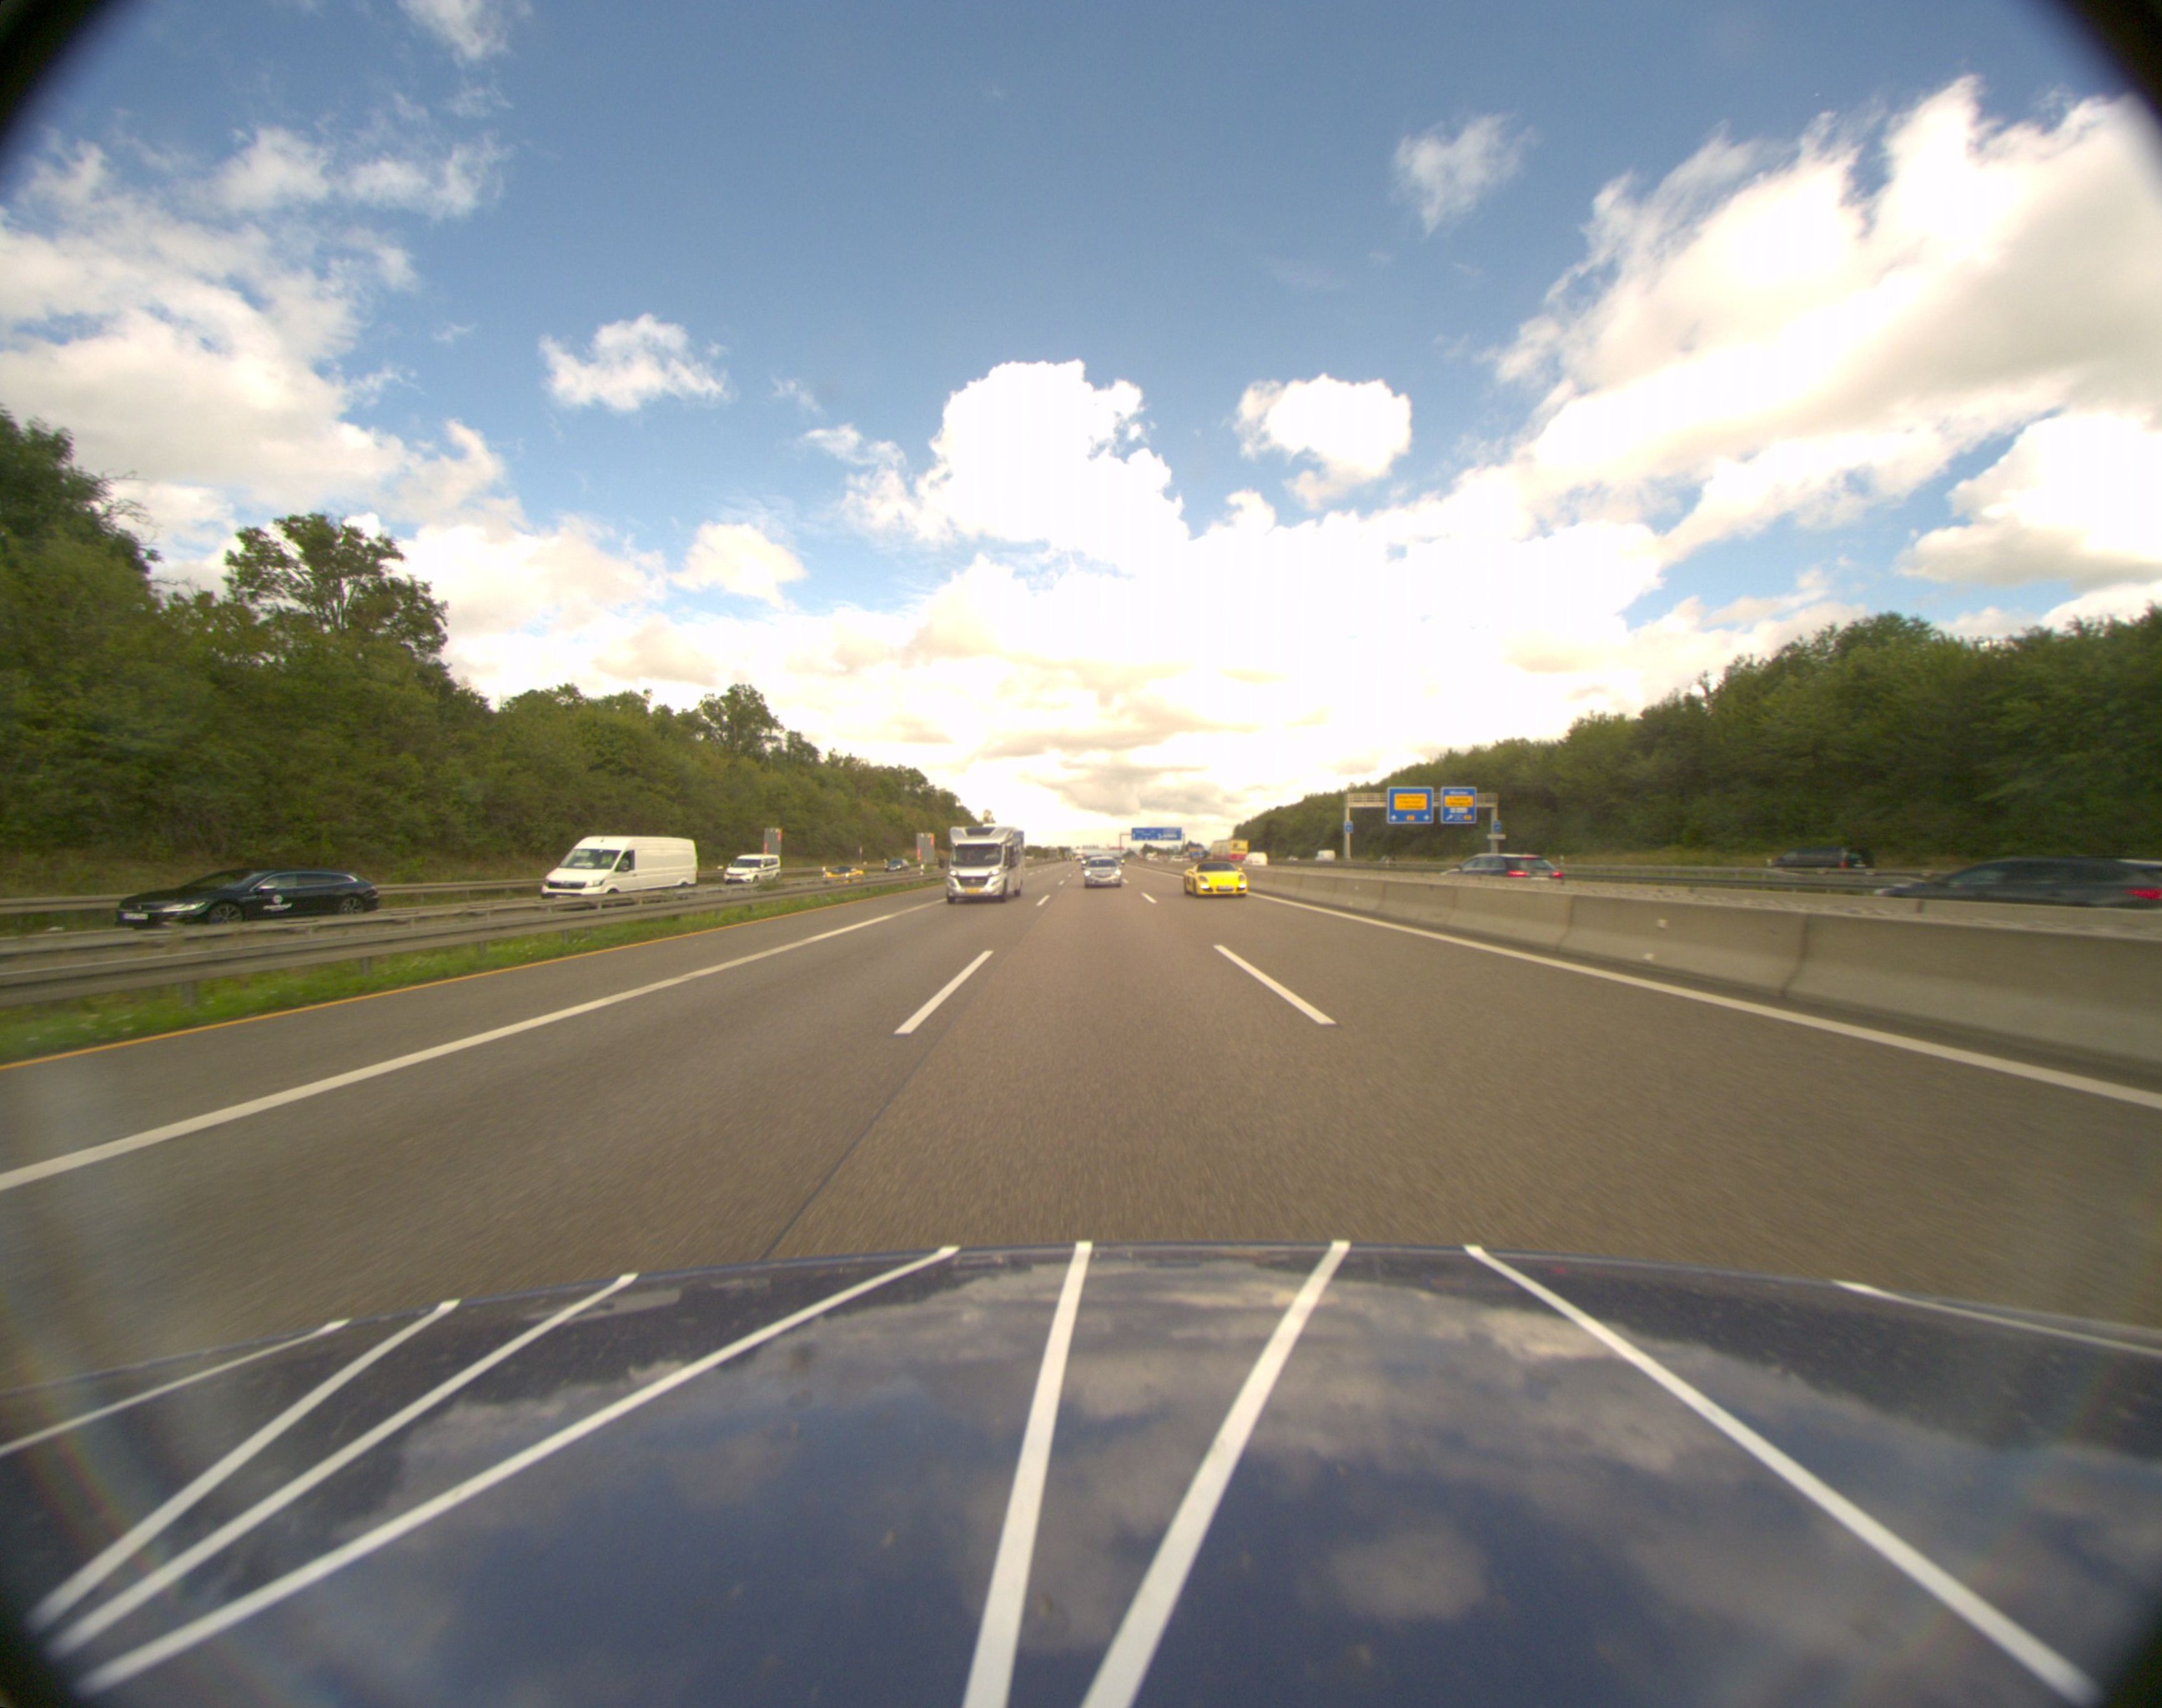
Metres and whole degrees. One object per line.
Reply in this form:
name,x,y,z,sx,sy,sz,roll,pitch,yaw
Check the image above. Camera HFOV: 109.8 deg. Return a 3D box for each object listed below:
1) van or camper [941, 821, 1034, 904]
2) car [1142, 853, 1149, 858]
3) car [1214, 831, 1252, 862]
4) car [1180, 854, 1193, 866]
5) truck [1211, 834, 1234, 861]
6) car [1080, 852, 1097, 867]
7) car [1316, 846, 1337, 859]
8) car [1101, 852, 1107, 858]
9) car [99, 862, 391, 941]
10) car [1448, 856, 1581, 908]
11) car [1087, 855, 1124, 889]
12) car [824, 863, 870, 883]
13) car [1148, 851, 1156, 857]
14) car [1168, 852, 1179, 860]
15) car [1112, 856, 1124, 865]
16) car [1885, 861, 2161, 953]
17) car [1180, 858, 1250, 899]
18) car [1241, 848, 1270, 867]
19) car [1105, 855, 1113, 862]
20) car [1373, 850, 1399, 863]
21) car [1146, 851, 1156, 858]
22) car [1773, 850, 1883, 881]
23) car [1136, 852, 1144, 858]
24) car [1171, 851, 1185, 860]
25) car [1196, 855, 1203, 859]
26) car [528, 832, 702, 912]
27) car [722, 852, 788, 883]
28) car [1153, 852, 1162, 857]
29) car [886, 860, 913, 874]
van or camper,-3.376,0.280,29.450,2.475,2.706,7.661,-2,0,1
car,20.206,0.502,237.652,1.778,1.552,4.781,-1,0,0
car,22.533,-1.028,113.539,2.913,4.300,14.145,0,0,1
car,18.760,1.100,135.612,1.757,2.002,4.553,-2,0,1
truck,22.675,-1.068,122.008,2.903,4.298,5.161,0,0,1
car,0.887,0.567,87.796,1.876,1.626,4.859,-1,0,1
car,43.367,-0.273,134.250,1.998,2.221,5.891,0,0,2
car,7.242,0.395,241.361,1.998,1.846,4.286,-1,1,1
car,-19.886,1.027,18.489,1.848,1.593,4.764,1,0,0
car,12.990,0.791,23.082,1.761,1.394,4.074,-1,0,1
car,1.145,0.837,37.461,1.687,1.476,4.616,-1,0,0
car,-15.564,1.265,50.654,1.716,1.175,4.169,-2,0,0
car,24.315,0.031,261.288,2.169,2.258,6.460,-1,0,0
car,18.834,0.461,154.445,1.598,1.601,4.463,-1,0,1
car,5.630,0.992,115.811,1.593,1.307,3.978,1,0,0
car,16.663,0.792,12.904,1.584,1.276,4.241,-1,0,1
car,4.790,0.835,27.662,1.811,1.307,4.247,1,0,0
car,17.661,0.352,76.964,1.738,1.784,5.124,-1,0,0
car,7.271,1.172,197.540,1.998,2.002,4.589,0,0,1
car,42.577,0.341,106.157,1.851,1.652,4.419,0,0,1
car,15.186,0.119,165.785,1.780,1.563,4.180,-2,0,1
car,41.599,0.588,42.478,1.886,1.652,4.419,0,0,1
car,16.514,0.336,212.212,1.776,1.601,4.465,-1,0,1
car,14.921,0.242,116.634,1.670,1.393,4.534,0,0,1
car,38.746,1.061,247.890,1.567,1.357,4.051,-1,0,0
car,-16.515,0.583,27.548,2.075,2.539,6.743,0,0,1
car,-19.762,0.807,46.289,1.848,1.741,4.764,-2,0,1
car,19.981,0.198,198.928,1.775,1.287,4.675,-1,0,1
car,-19.169,1.356,80.460,1.716,1.407,4.169,-1,0,1
